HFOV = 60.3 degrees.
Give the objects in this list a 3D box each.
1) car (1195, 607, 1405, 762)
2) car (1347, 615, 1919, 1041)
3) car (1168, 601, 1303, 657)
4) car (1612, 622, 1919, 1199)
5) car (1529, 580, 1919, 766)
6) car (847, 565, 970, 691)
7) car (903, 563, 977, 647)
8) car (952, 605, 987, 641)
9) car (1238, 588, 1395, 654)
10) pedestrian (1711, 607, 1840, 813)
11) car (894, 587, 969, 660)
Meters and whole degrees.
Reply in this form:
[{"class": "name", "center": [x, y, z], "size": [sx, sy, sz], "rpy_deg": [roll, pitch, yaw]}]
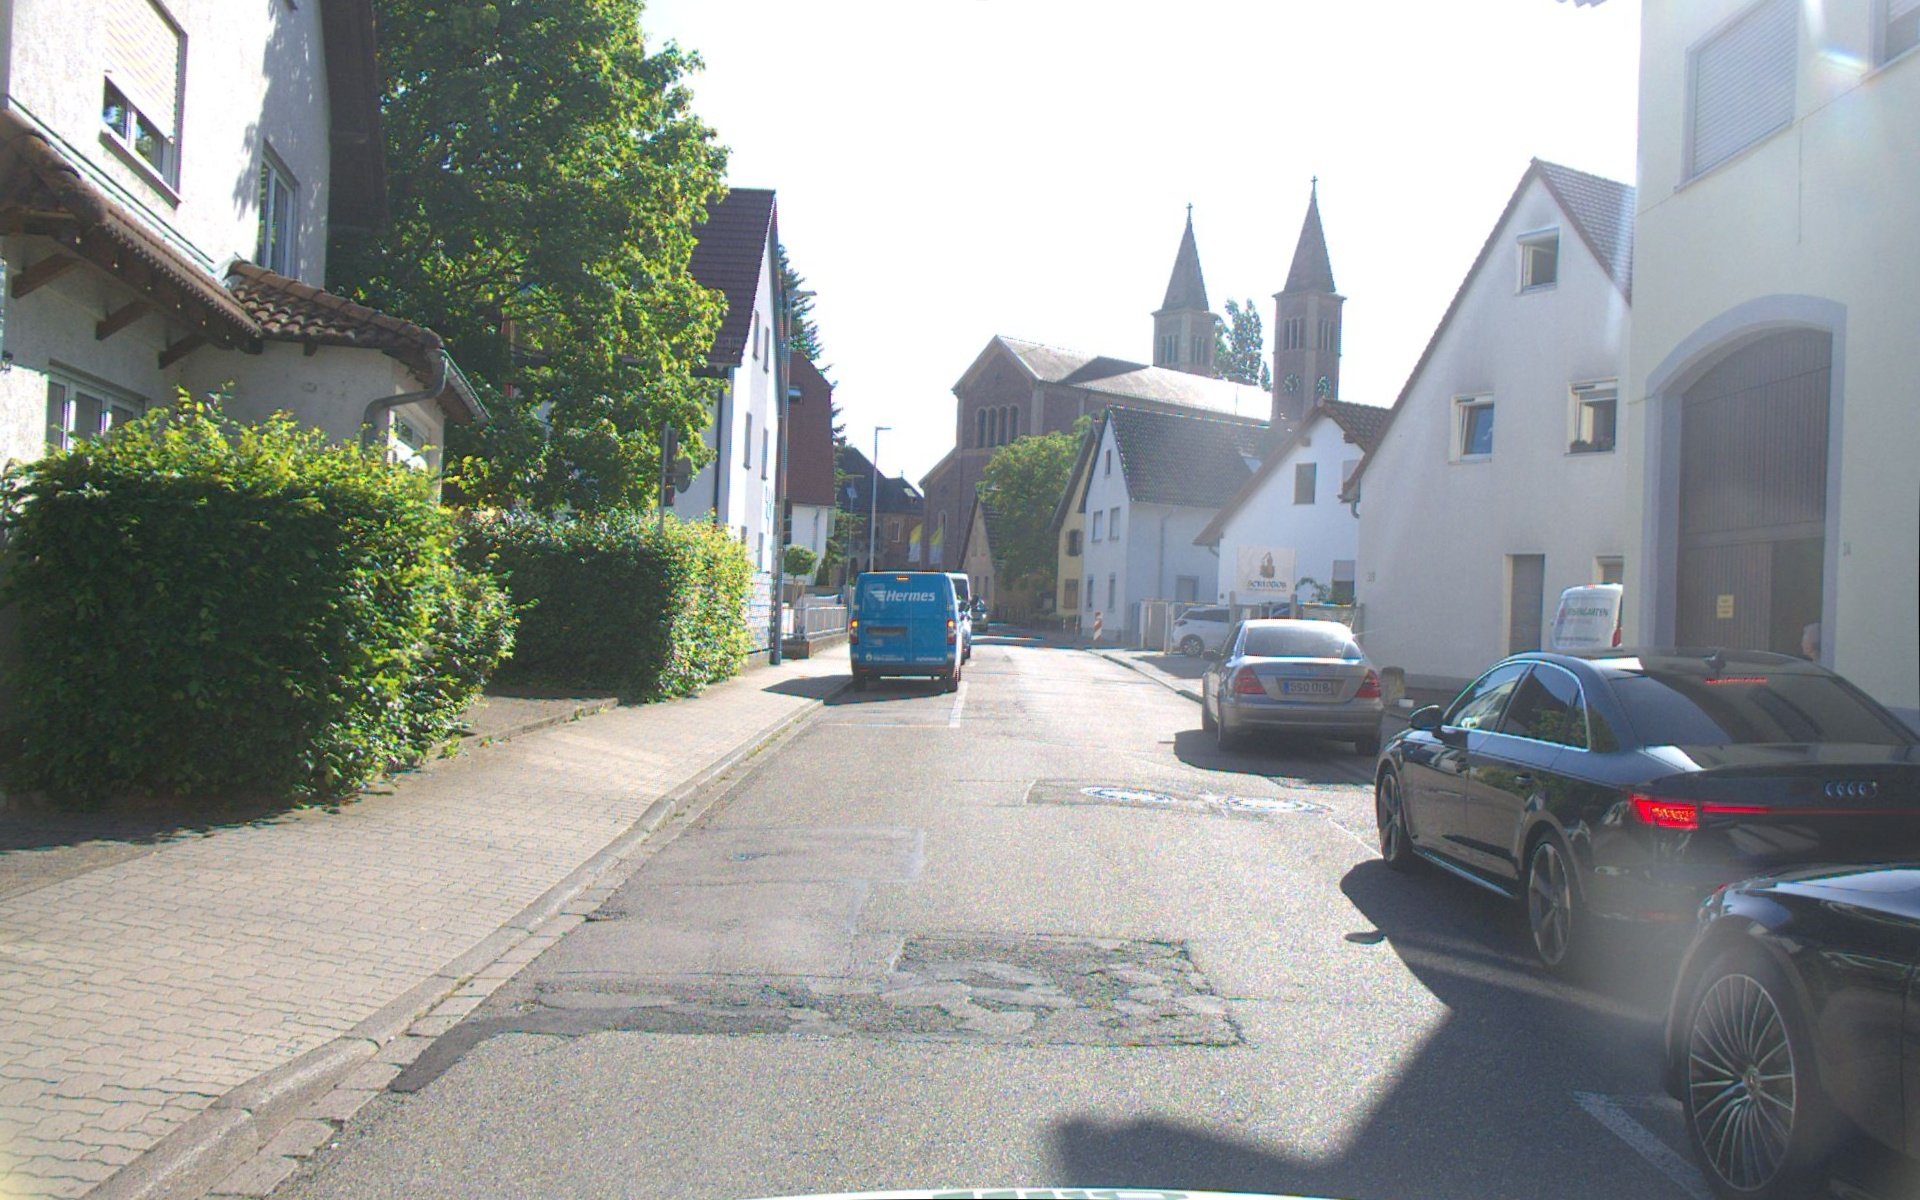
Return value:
[{"class": "car", "center": [3.855, 0.883, 19.490], "size": [1.773, 1.501, 4.662], "rpy_deg": [3, 0, 4]}, {"class": "car", "center": [3.550, 0.918, 8.732], "size": [1.772, 1.501, 4.844], "rpy_deg": [4, 0, 0]}, {"class": "car", "center": [8.144, 0.841, 48.942], "size": [3.829, 1.518, 1.848], "rpy_deg": [2, 0, 9]}, {"class": "car", "center": [2.982, 0.886, 2.773], "size": [1.772, 1.501, 4.844], "rpy_deg": [4, 0, 0]}, {"class": "car", "center": [8.969, 0.752, 18.347], "size": [4.671, 1.919, 1.906], "rpy_deg": [0, 0, -7]}, {"class": "car", "center": [-0.795, 0.440, 28.655], "size": [1.863, 1.951, 5.070], "rpy_deg": [1, 0, 1]}, {"class": "car", "center": [-0.559, 0.131, 51.485], "size": [2.152, 2.432, 6.064], "rpy_deg": [1, 0, 0]}, {"class": "car", "center": [0.441, 1.070, 77.497], "size": [1.542, 1.573, 2.966], "rpy_deg": [2, 0, 0]}, {"class": "car", "center": [9.925, 0.585, 46.073], "size": [3.989, 1.718, 1.895], "rpy_deg": [2, 0, -28]}, {"class": "pedestrian", "center": [6.546, 0.861, 13.309], "size": [0.553, 1.578, 0.770], "rpy_deg": [3, 0, -4]}, {"class": "car", "center": [-0.636, 0.537, 39.895], "size": [1.679, 1.626, 3.925], "rpy_deg": [1, 0, 0]}]
